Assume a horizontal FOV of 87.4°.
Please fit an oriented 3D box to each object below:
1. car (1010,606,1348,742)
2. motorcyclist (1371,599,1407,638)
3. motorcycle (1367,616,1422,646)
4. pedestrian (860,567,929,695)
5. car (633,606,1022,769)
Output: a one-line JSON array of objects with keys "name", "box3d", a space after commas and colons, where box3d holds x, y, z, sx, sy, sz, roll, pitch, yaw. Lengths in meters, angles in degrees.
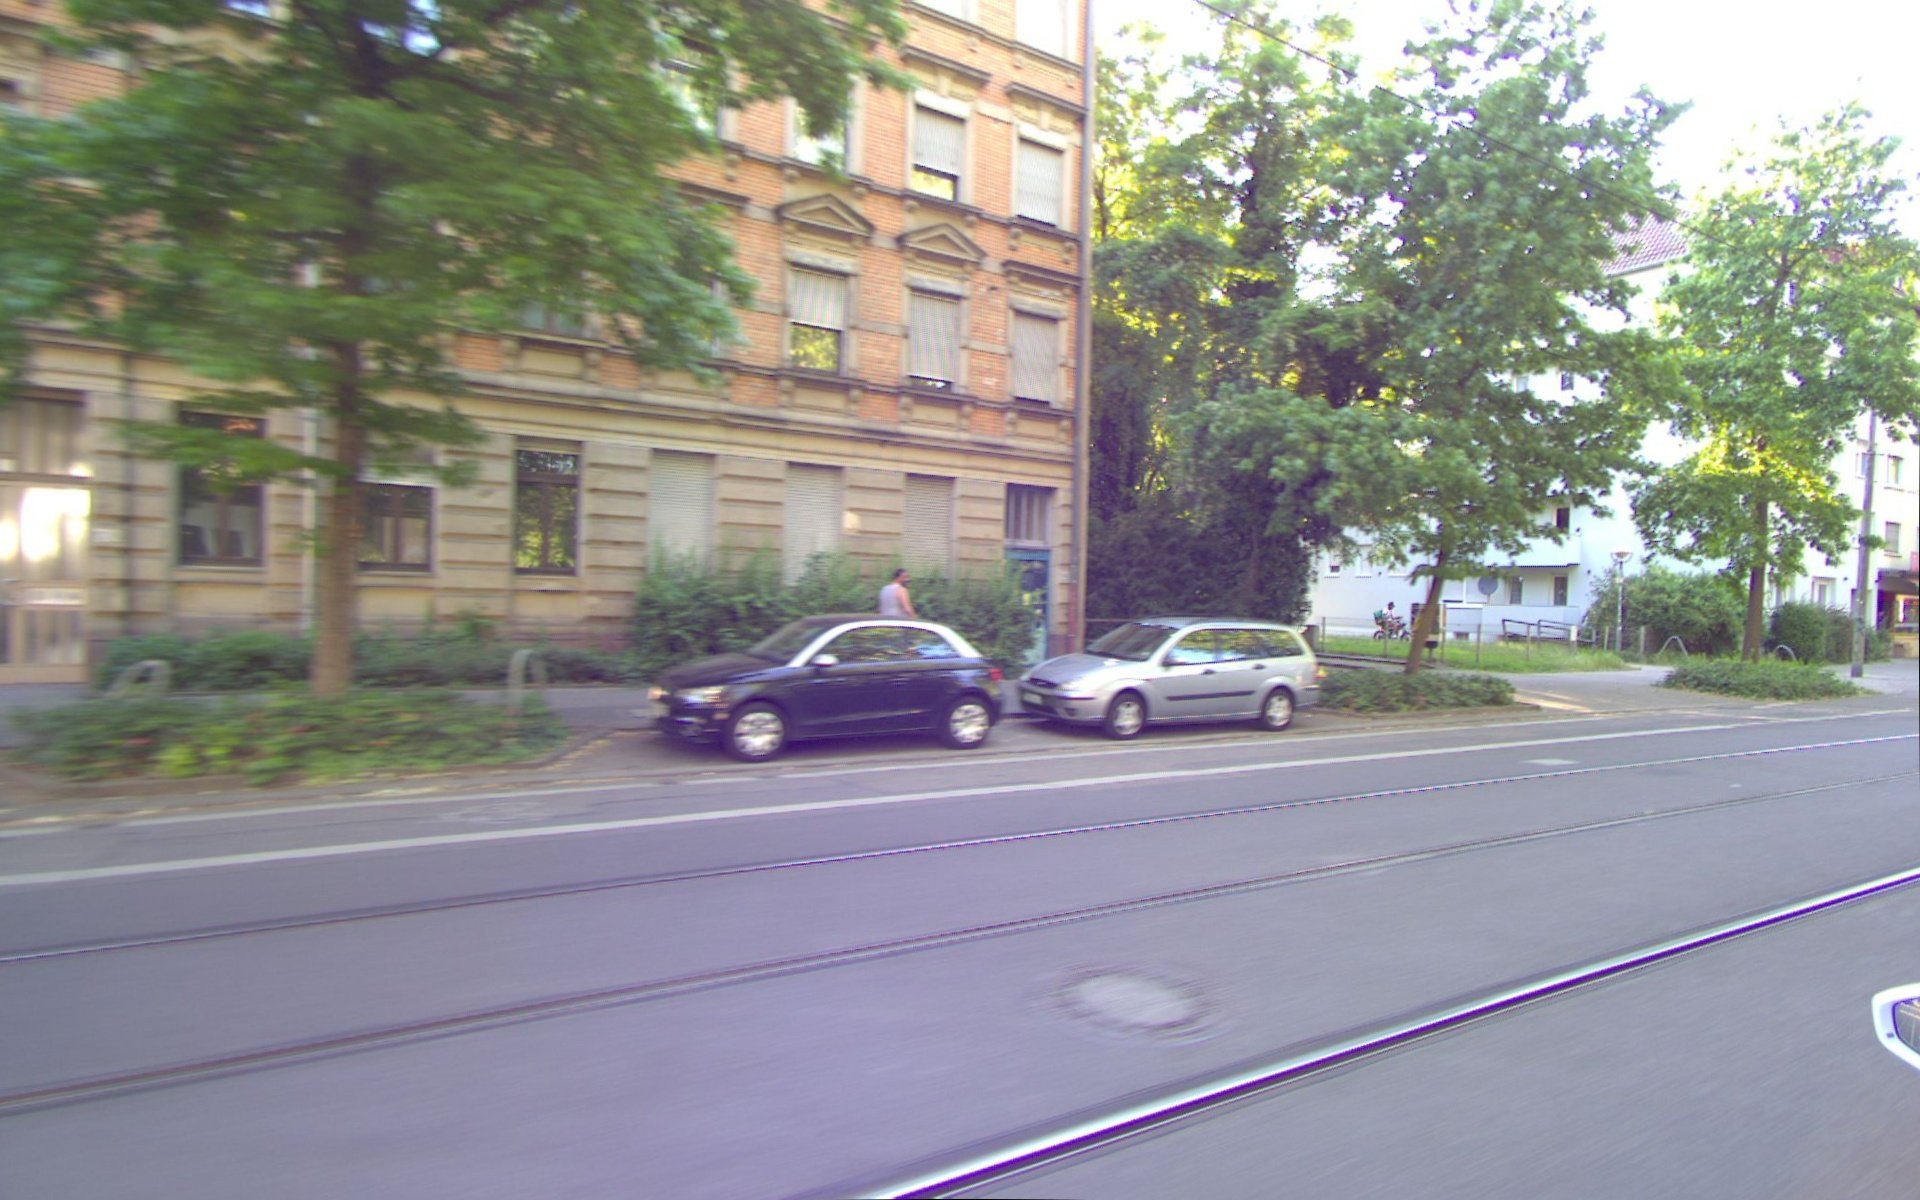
[{"name": "car", "box3d": [3.050, 0.931, 13.767, 4.479, 1.571, 1.692, 1, 1, -28]}, {"name": "motorcyclist", "box3d": [16.161, 0.687, 37.845, 0.591, 1.469, 1.094, 1, 0, -33]}, {"name": "motorcycle", "box3d": [16.275, 1.161, 37.656, 0.591, 1.046, 1.860, 1, 0, -33]}, {"name": "pedestrian", "box3d": [-0.998, 0.452, 15.256, 0.721, 1.872, 0.737, 1, 2, -32]}, {"name": "car", "box3d": [-1.396, 0.851, 11.047, 3.905, 1.464, 1.649, 1, 1, -32]}]
